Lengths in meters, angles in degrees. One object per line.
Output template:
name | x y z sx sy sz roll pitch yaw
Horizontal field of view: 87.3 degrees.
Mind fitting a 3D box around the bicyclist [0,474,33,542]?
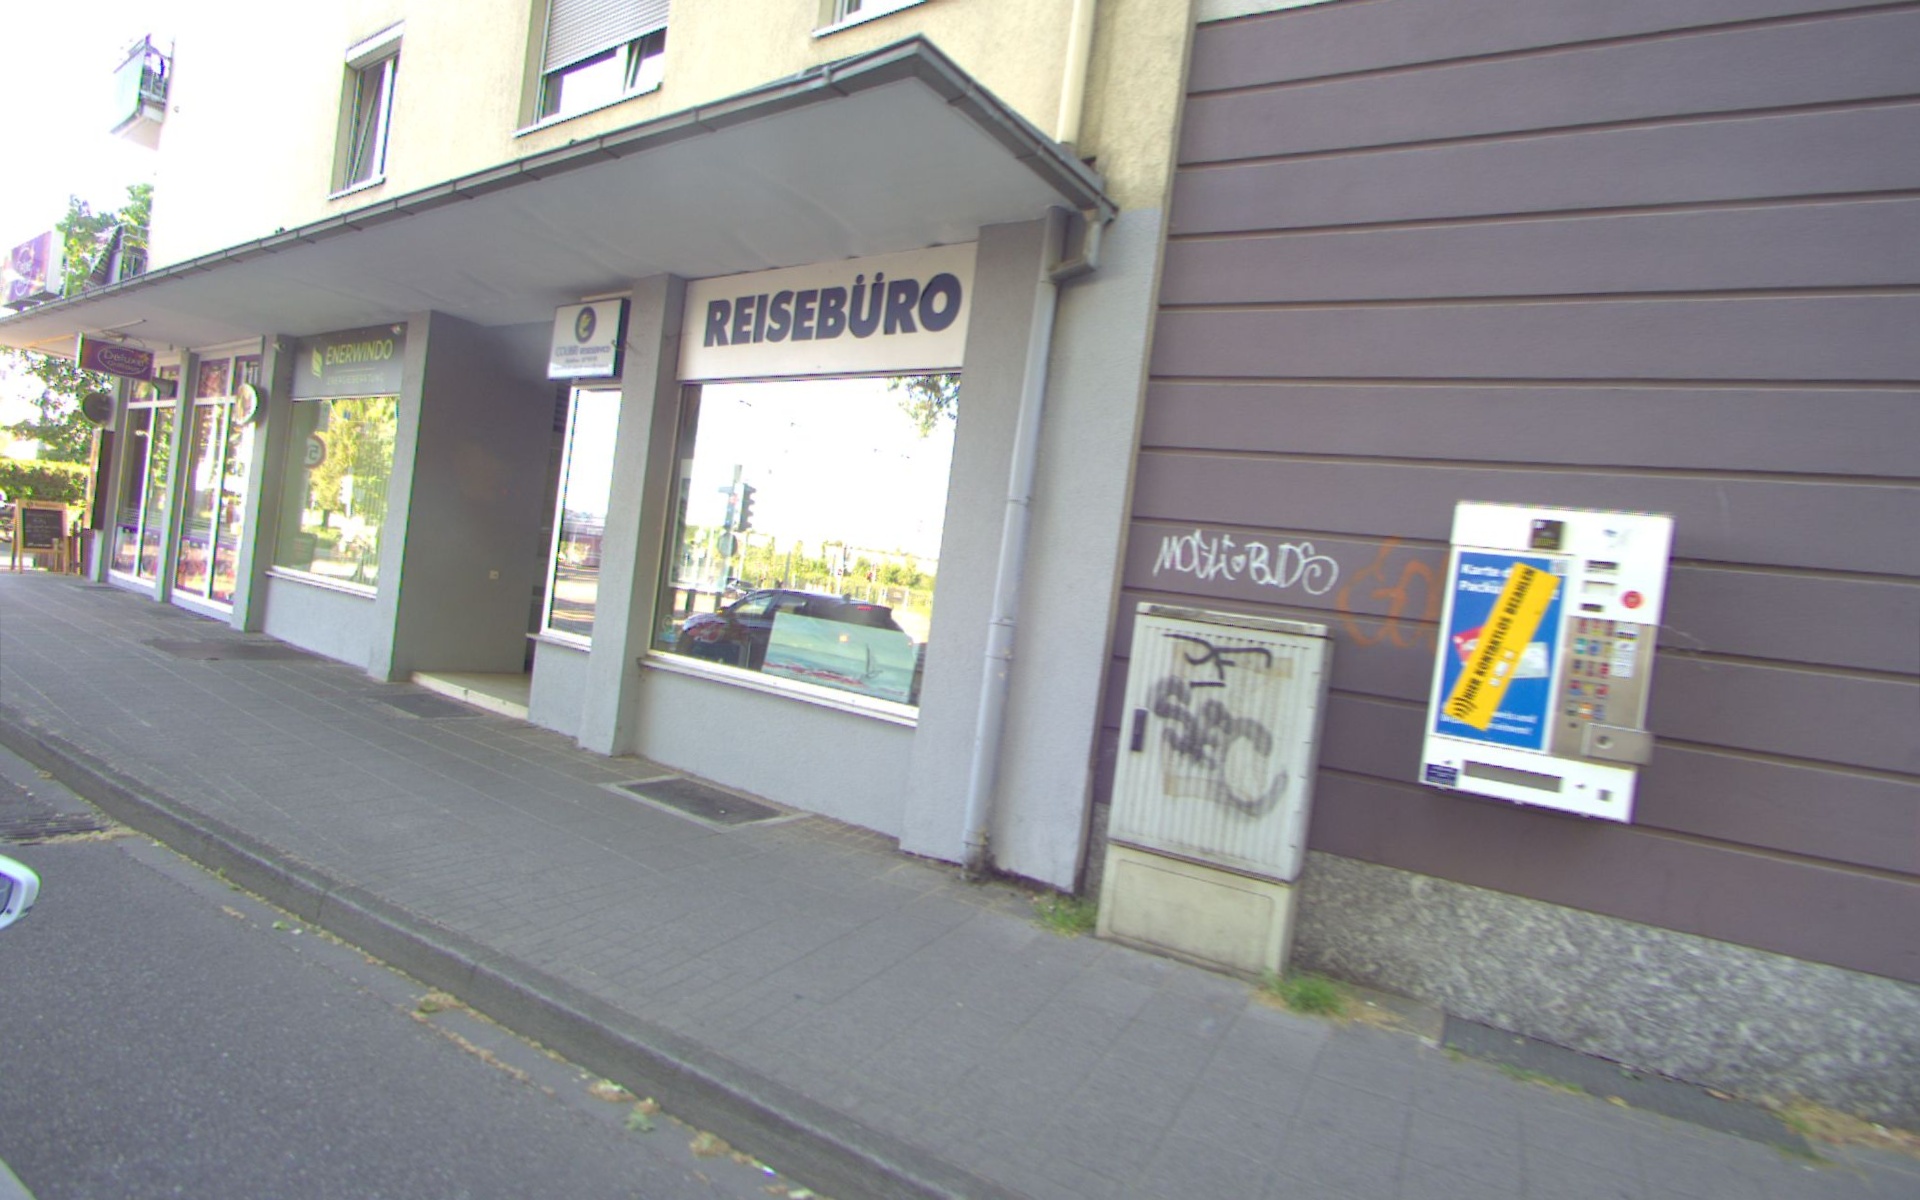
bicyclist | -23.130 -2.248 23.971 0.904 1.539 1.116 7 0 19

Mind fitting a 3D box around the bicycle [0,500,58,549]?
bicycle | -23.158 -1.884 24.034 0.819 1.046 2.198 7 0 19
